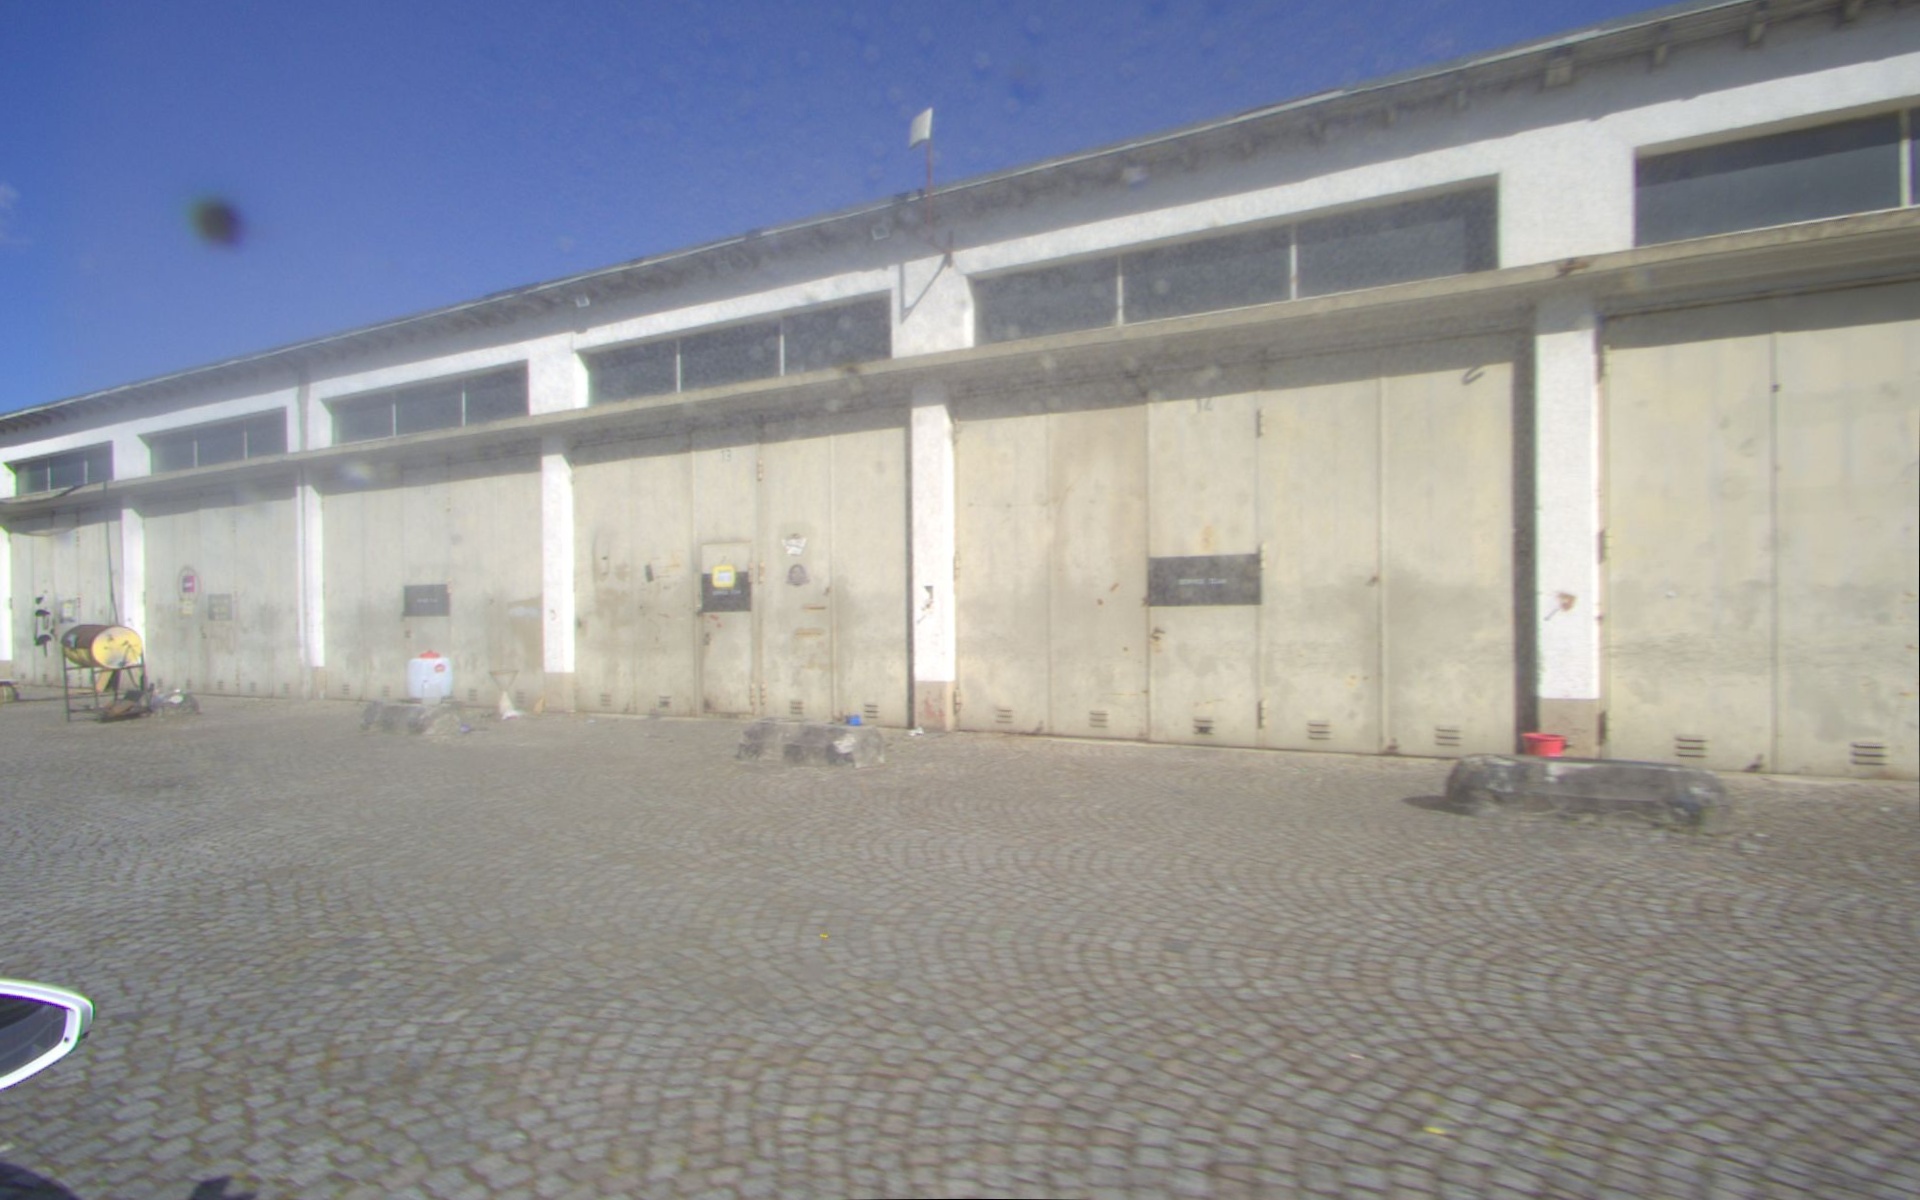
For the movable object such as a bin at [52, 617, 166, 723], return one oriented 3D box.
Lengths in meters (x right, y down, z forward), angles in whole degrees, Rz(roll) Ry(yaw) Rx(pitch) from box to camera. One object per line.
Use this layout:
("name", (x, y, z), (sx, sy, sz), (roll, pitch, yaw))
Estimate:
("movable object such as a bin", (-11.968, 0.950, 14.096), (1.084, 1.419, 0.874), (-1, 0, 27))
